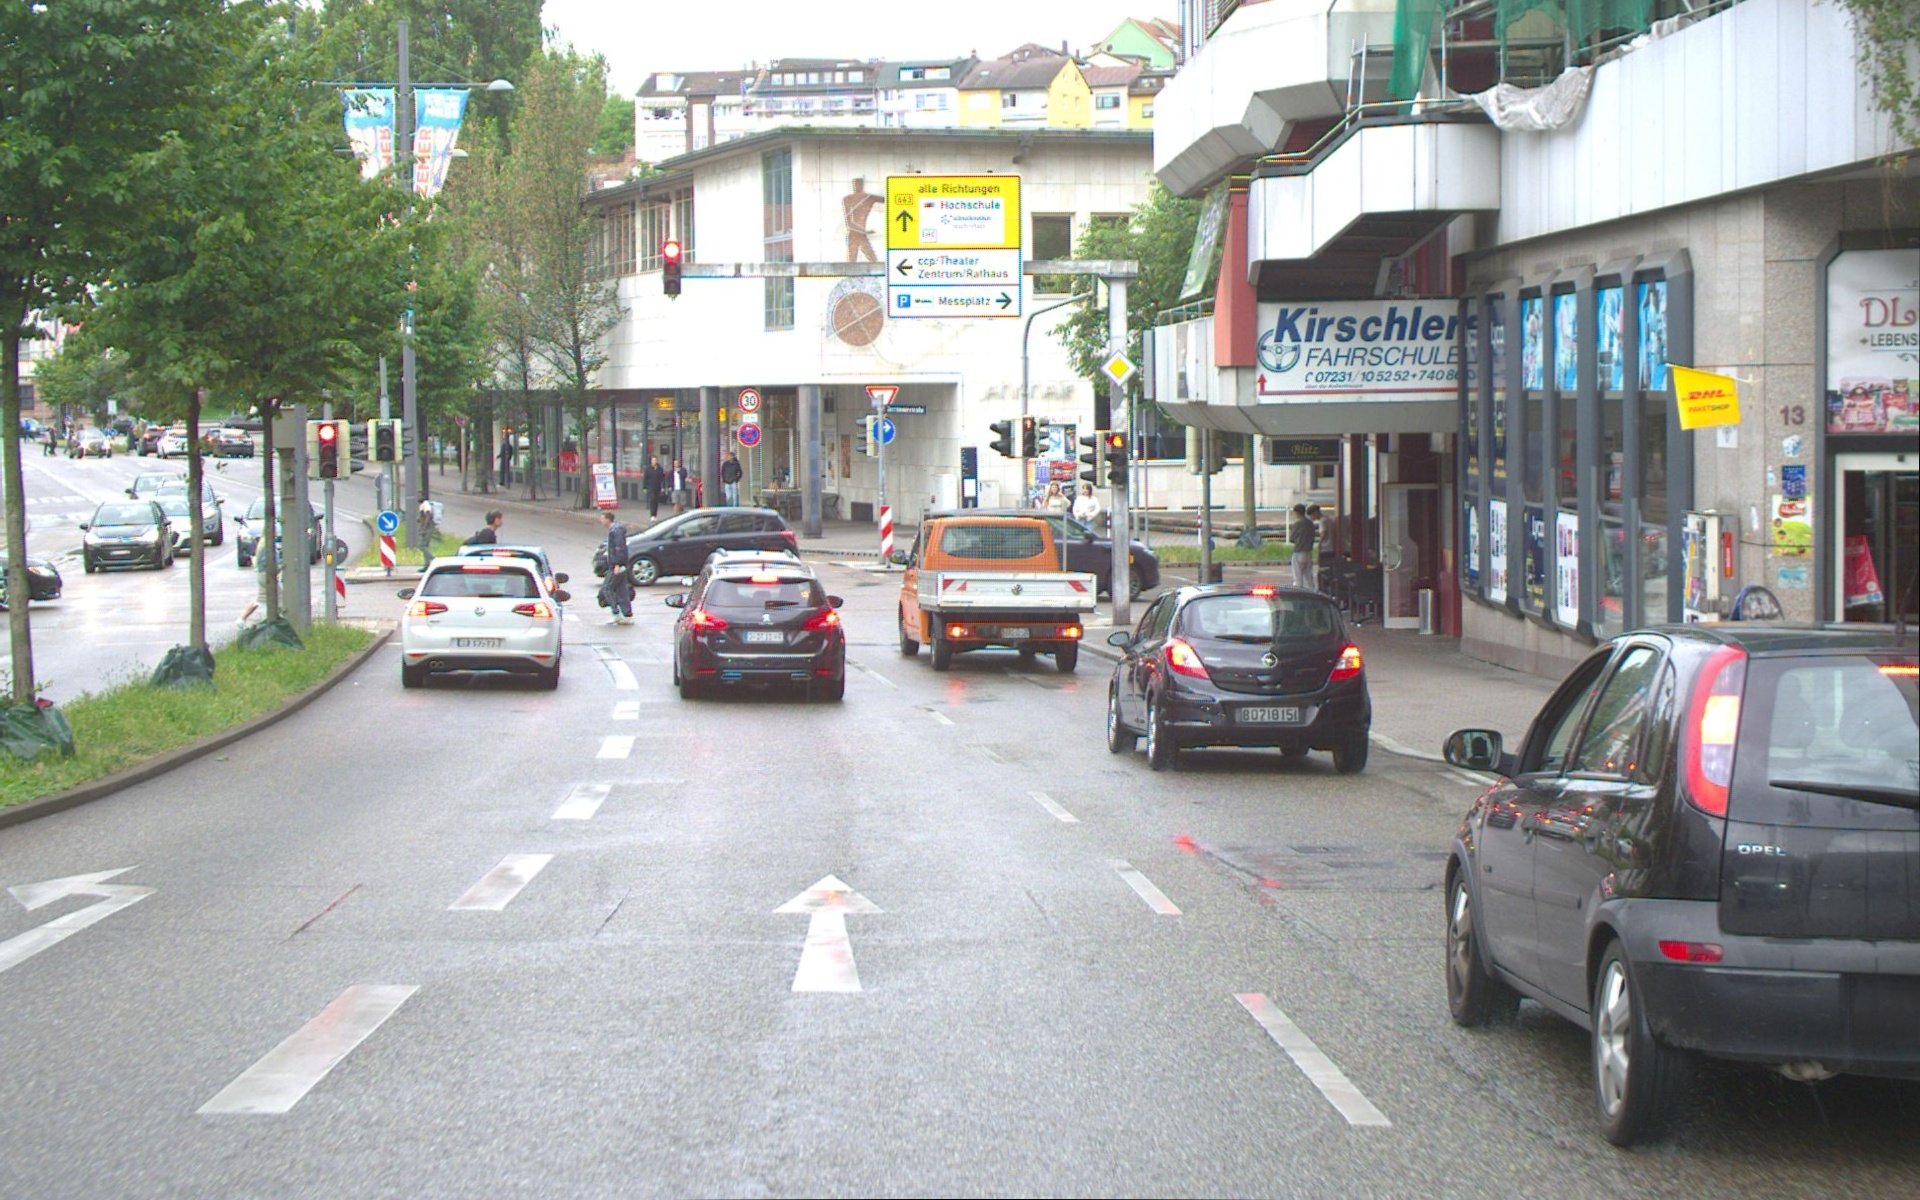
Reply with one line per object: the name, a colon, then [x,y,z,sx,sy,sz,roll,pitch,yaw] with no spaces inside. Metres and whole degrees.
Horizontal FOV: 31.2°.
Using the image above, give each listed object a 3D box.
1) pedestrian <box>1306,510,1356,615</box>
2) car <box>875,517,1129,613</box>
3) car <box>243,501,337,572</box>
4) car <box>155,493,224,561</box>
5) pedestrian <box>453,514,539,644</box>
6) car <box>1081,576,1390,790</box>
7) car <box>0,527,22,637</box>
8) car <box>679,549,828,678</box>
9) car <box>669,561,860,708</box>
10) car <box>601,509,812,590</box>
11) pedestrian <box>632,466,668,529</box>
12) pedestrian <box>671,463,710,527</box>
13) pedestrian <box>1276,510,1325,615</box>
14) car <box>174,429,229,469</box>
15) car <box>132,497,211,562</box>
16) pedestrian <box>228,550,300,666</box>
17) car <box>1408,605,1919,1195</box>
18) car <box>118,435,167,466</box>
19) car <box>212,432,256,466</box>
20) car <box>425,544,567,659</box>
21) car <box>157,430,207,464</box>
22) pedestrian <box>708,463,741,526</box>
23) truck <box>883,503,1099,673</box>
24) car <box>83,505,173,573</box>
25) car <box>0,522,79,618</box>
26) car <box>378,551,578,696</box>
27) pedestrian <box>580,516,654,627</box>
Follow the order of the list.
pedestrian: [6.112,-0.615,56.652,0.575,1.694,0.651,-2,1,-17]
car: [0.729,-0.618,60.603,4.147,1.652,1.842,0,0,-15]
car: [-14.913,-1.418,76.623,1.819,1.544,4.001,0,1,-8]
car: [-20.093,-1.897,89.763,1.705,1.715,4.001,0,1,-12]
pedestrian: [-6.832,-0.314,50.615,1.063,1.875,0.838,-1,1,3]
car: [2.151,0.611,27.956,1.949,1.568,4.001,0,1,-4]
car: [-17.757,-0.333,55.398,5.070,1.753,2.001,1,0,-15]
car: [-2.738,0.136,44.880,1.760,1.537,4.001,0,2,-6]
car: [-2.219,0.347,38.137,1.811,1.436,4.001,1,2,-7]
car: [-4.913,-0.986,66.415,3.986,1.522,1.848,0,1,-7]
pedestrian: [-8.932,-2.948,99.090,0.798,1.796,0.918,-2,1,-17]
pedestrian: [-7.751,-3.013,98.729,0.846,1.796,1.056,-2,1,-17]
pedestrian: [5.568,-0.613,56.262,0.575,1.694,0.651,-2,1,-13]
car: [-40.072,-7.972,181.586,1.993,2.007,4.001,-1,1,-26]
car: [-19.033,-1.700,83.098,1.777,1.544,4.001,0,1,-12]
pedestrian: [-10.564,0.115,52.195,0.835,1.716,0.818,-1,1,3]
car: [2.462,0.749,10.431,1.717,1.415,3.770,0,1,0]
car: [-42.738,-7.796,179.668,1.748,1.549,3.570,-1,1,-26]
car: [-36.893,-7.655,174.687,1.831,1.583,3.875,0,1,-17]
car: [-6.245,-0.011,46.618,1.794,1.463,4.001,0,1,-6]
car: [-38.629,-7.585,170.630,1.993,1.590,4.001,0,1,-19]
pedestrian: [-6.806,-3.043,99.251,0.702,1.796,0.939,-2,1,-17]
truck: [0.324,-0.196,45.150,2.183,2.075,5.604,0,1,-6]
car: [-18.235,-1.342,75.482,1.706,1.446,3.862,0,1,-10]
car: [-17.669,-0.546,59.267,4.681,1.638,1.787,1,0,-17]
car: [-5.494,0.229,39.592,1.949,1.568,4.001,0,1,-3]
pedestrian: [-5.391,-0.456,54.089,1.010,1.716,0.838,-1,1,2]
